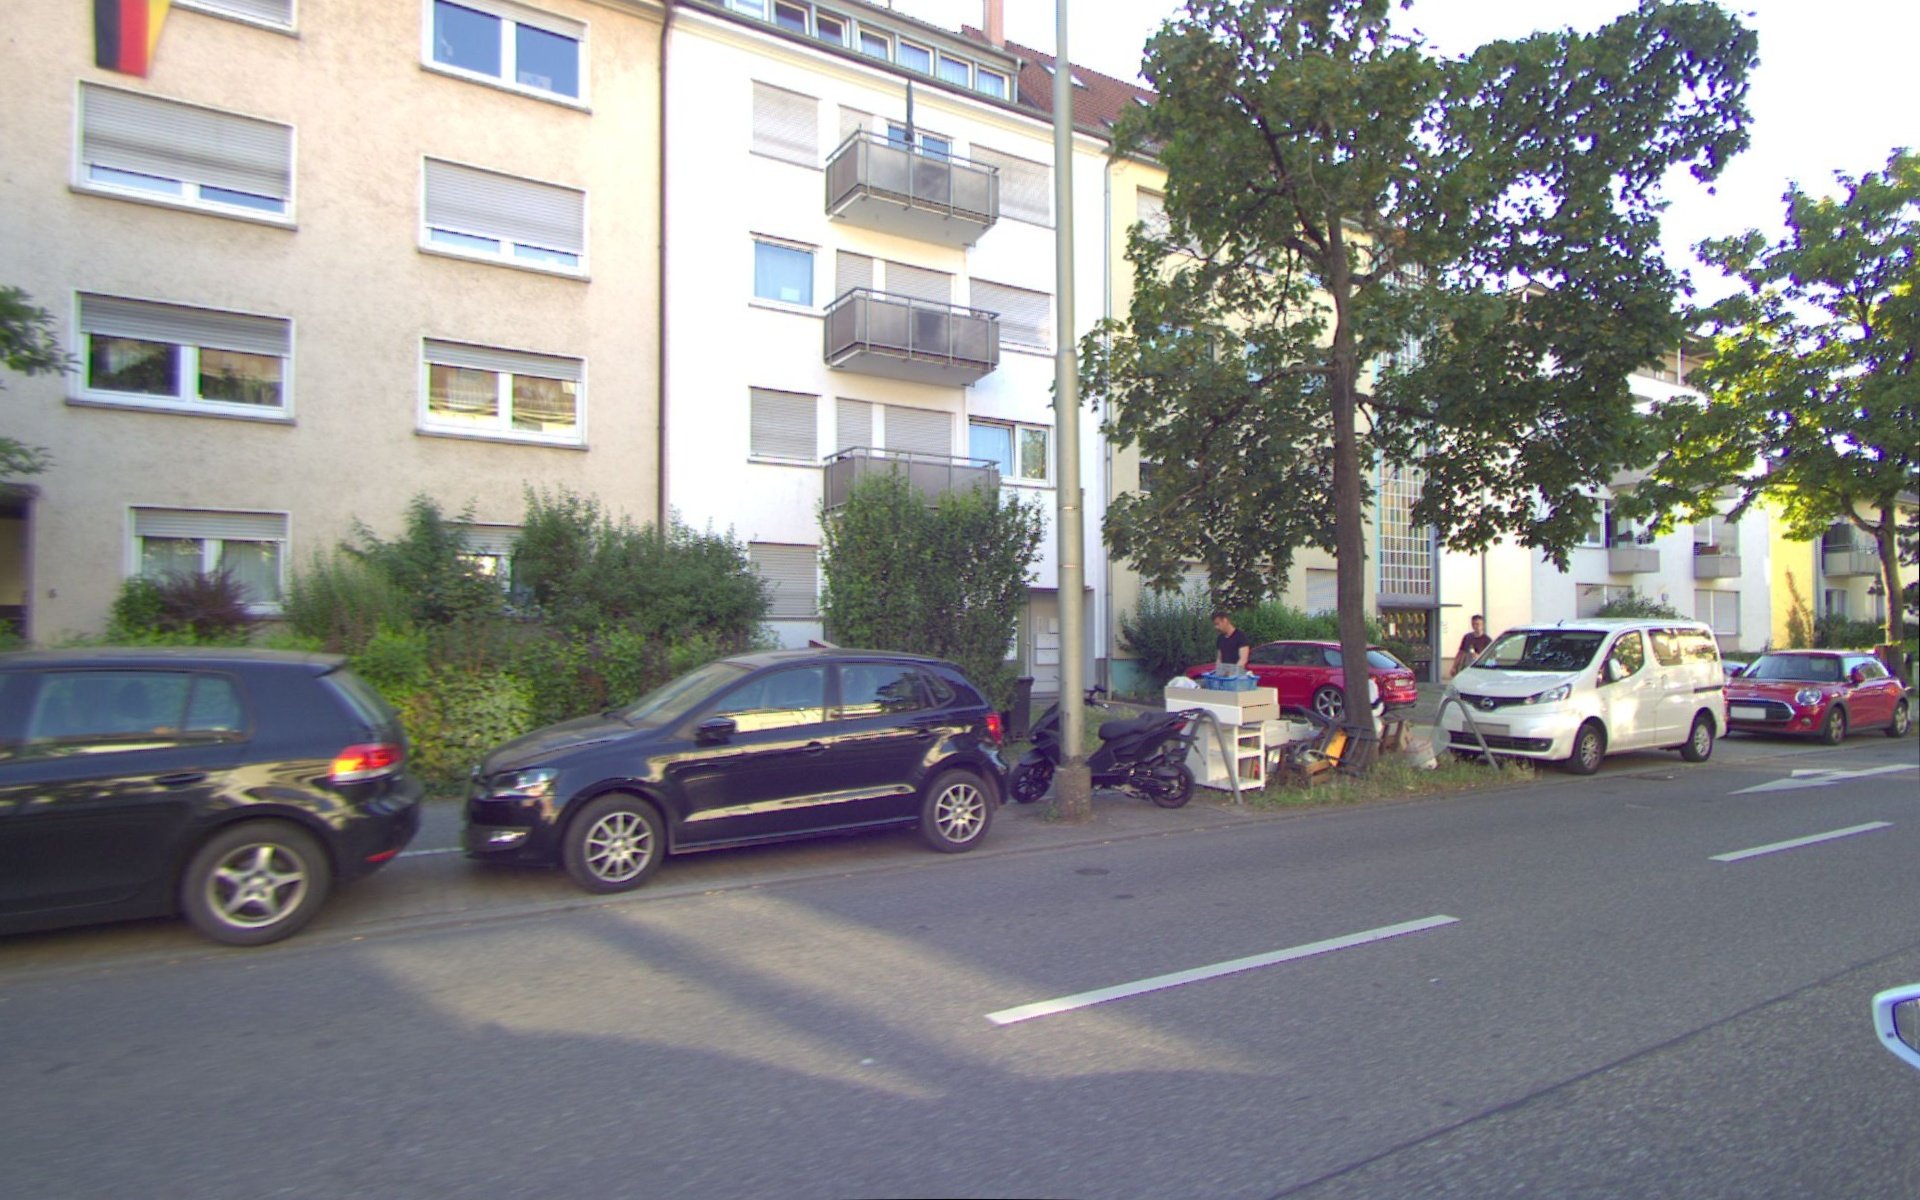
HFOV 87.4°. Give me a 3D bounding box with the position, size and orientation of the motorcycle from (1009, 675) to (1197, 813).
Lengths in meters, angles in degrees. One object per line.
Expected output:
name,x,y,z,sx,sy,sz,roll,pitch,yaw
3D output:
motorcycle,1.314,1.314,9.303,1.672,1.207,0.442,0,-2,8

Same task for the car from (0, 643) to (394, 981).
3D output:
car,-5.272,1.001,5.115,4.147,1.522,1.742,1,-2,-30

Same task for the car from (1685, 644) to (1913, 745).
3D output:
car,13.843,1.475,16.548,3.742,1.439,1.709,1,-2,-30

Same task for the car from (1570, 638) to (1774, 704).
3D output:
car,18.552,1.780,26.334,1.979,1.498,3.963,1,-1,-33

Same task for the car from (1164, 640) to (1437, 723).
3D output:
car,6.457,1.486,19.489,1.986,1.380,4.668,1,-2,-42

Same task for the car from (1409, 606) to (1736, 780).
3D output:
car,8.042,1.096,13.103,4.407,1.944,1.762,1,-2,-30

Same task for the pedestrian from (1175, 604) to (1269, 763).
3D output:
pedestrian,3.510,1.084,13.469,0.964,2.040,0.763,1,-2,-31

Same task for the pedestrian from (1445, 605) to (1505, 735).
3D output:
pedestrian,8.298,1.110,16.195,0.609,2.040,0.624,1,-2,-31

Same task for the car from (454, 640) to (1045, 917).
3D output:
car,-1.478,1.067,7.404,3.932,1.522,1.742,1,-2,-30
